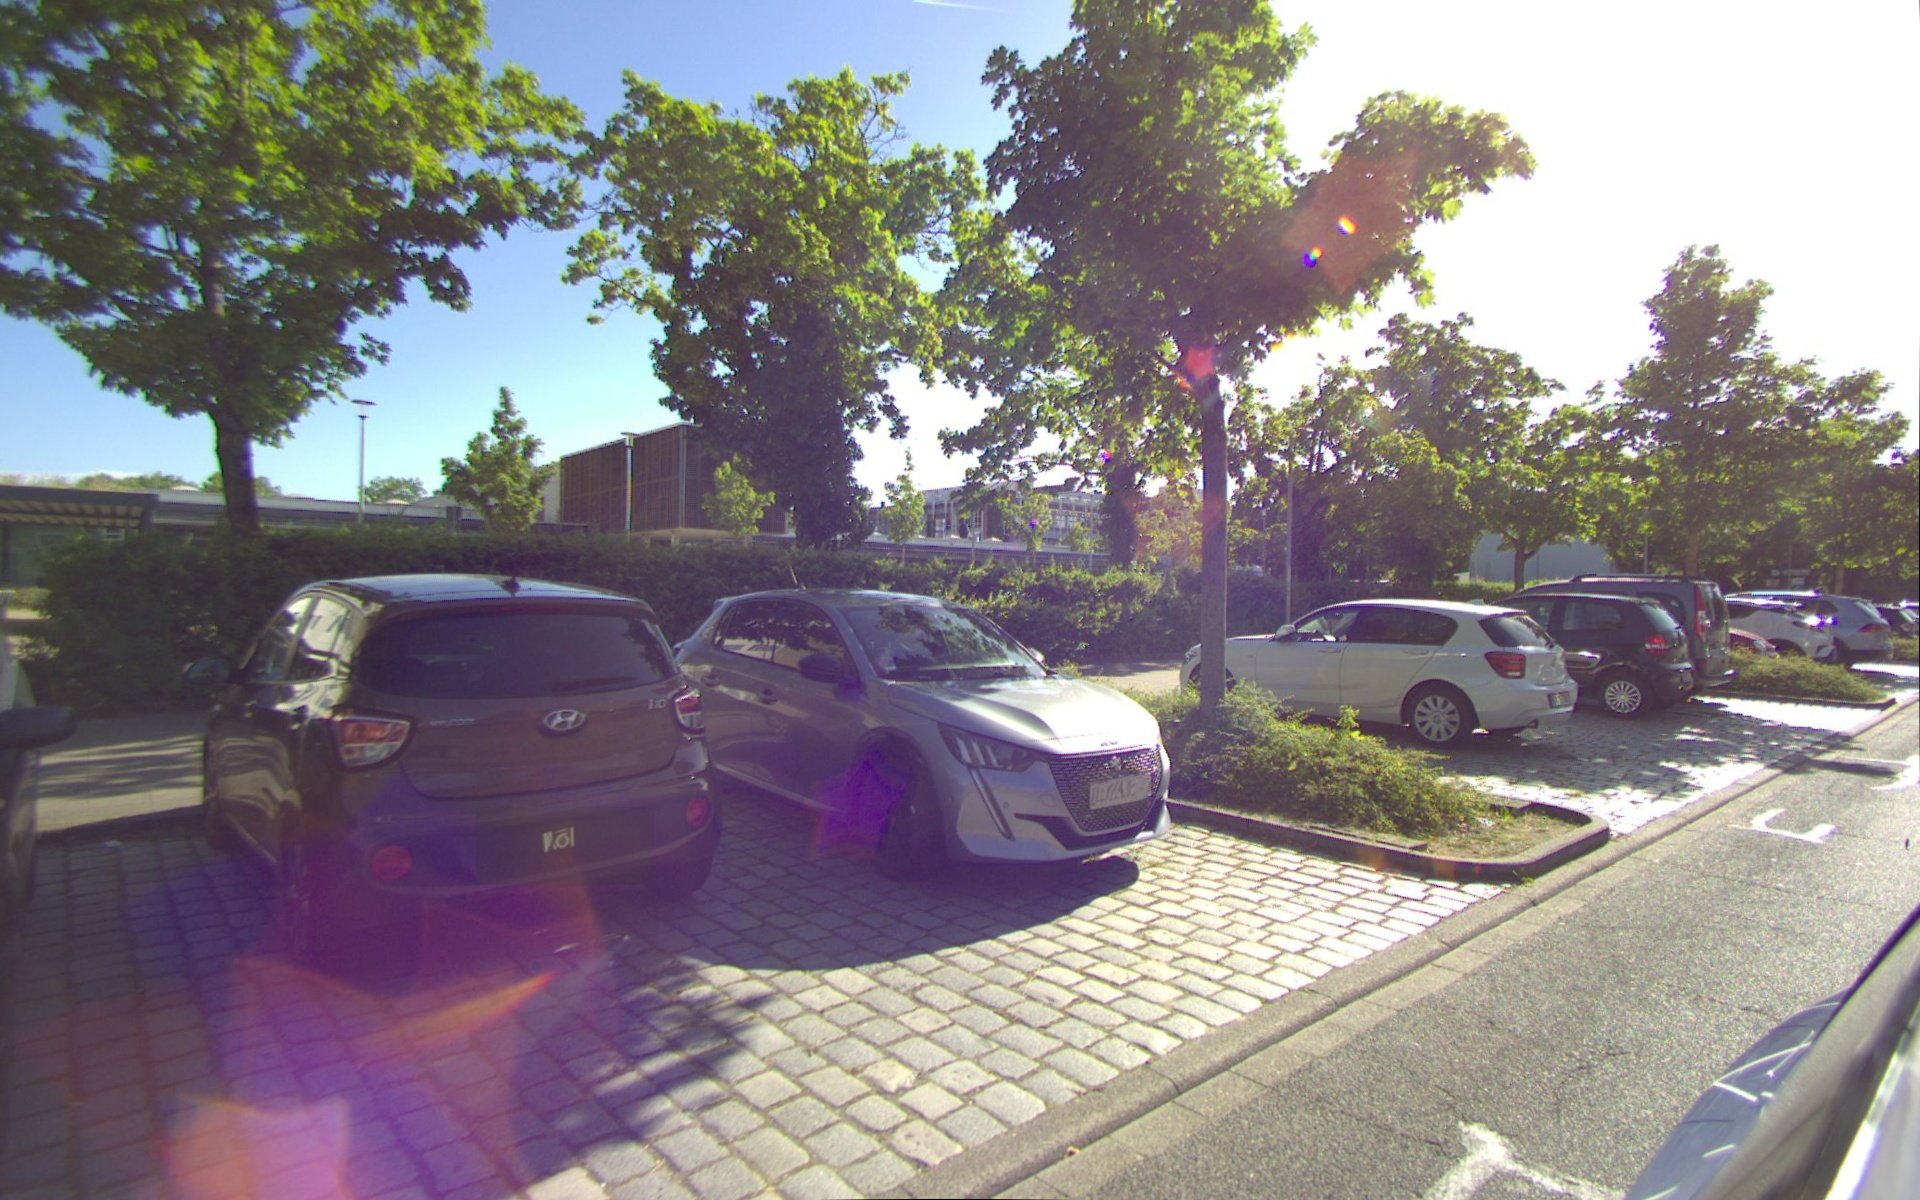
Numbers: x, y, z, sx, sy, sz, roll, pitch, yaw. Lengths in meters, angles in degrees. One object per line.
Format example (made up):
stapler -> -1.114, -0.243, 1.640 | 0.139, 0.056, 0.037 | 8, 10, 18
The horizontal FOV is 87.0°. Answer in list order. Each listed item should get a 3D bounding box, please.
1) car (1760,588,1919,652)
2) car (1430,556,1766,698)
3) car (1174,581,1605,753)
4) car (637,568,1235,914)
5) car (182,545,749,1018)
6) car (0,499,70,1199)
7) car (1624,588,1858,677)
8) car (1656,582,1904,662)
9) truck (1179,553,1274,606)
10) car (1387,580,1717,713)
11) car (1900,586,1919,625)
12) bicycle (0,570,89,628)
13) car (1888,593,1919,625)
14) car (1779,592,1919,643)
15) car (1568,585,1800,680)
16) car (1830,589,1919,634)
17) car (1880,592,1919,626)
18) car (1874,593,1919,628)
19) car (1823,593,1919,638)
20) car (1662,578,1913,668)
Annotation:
car -> 24.276, 0.498, 27.712 | 1.717, 1.507, 3.458 | -1, 3, -42
car -> 9.977, 0.342, 16.050 | 1.944, 1.952, 4.124 | 2, 0, -42
car -> 4.542, 0.566, 11.237 | 1.710, 1.443, 4.072 | 0, 2, -39
car -> -0.422, 0.576, 6.446 | 1.712, 1.504, 3.907 | 1, 1, -41
car -> -2.811, 0.547, 5.249 | 1.624, 1.523, 3.867 | 1, 1, -42
car -> -3.756, 0.541, 2.950 | 1.710, 1.599, 4.152 | 1, 1, -41
car -> 15.432, 0.590, 20.087 | 3.498, 1.549, 1.710 | 2, 0, 45
car -> 19.163, 0.433, 23.791 | 1.880, 1.628, 4.324 | 0, 2, -44
truck -> 20.780, -1.598, 79.224 | 2.760, 3.855, 6.918 | 2, 0, -38
car -> 8.084, 0.549, 14.035 | 1.677, 1.569, 3.611 | 2, 0, -42
car -> 48.323, 0.331, 48.787 | 1.847, 1.869, 4.164 | 0, 2, -40
bicycle -> -18.314, -0.030, 19.311 | 2.522, 1.077, 0.859 | 2, 0, -41
car -> 45.842, 0.483, 46.767 | 1.798, 1.423, 4.161 | 0, 2, -42
car -> 29.367, 0.533, 32.938 | 1.809, 1.516, 3.904 | 0, 1, -39
car -> 13.402, 0.531, 18.823 | 3.361, 1.549, 1.576 | 2, 2, 42
car -> 34.584, 0.414, 36.870 | 1.707, 1.538, 4.192 | 0, 2, -42
car -> 43.733, 0.466, 45.082 | 1.777, 1.454, 3.906 | 1, 2, -42
car -> 41.483, 0.449, 42.928 | 1.644, 1.444, 3.905 | -1, 2, -42
car -> 32.709, 0.544, 35.232 | 1.593, 1.486, 3.905 | 2, 0, -42
car -> 17.565, 0.433, 21.595 | 1.907, 1.717, 3.905 | 2, 0, -42
